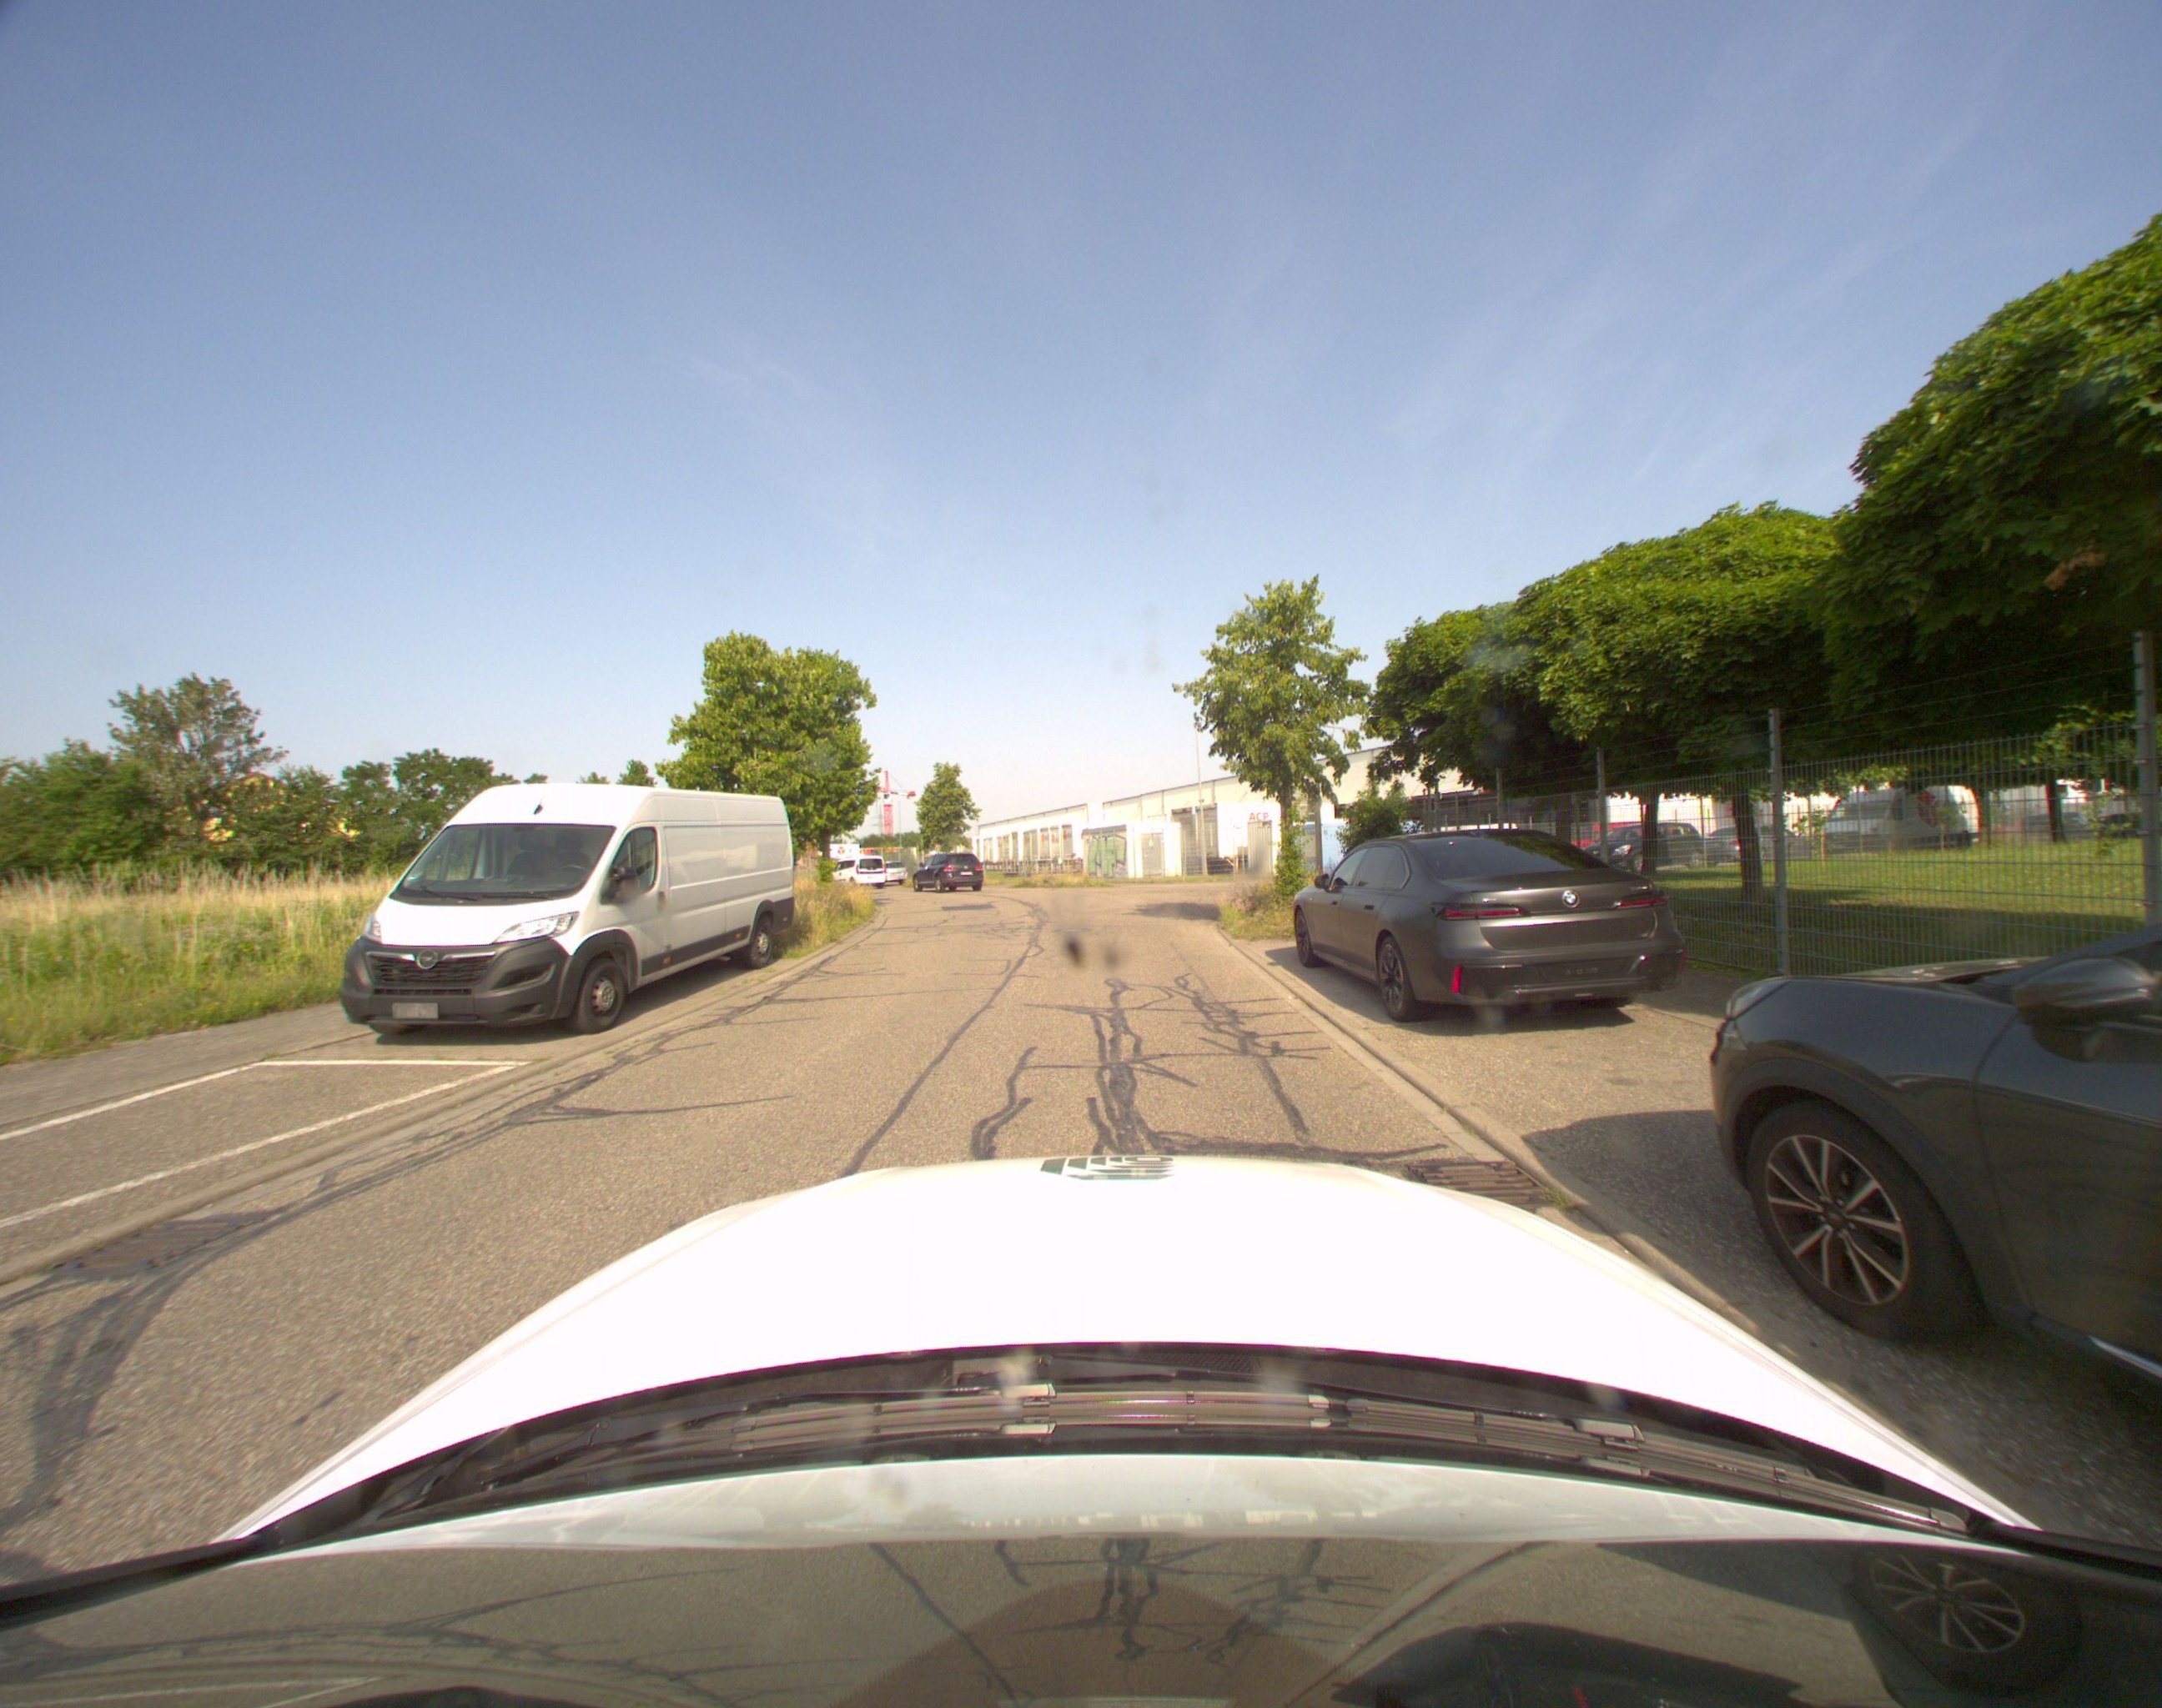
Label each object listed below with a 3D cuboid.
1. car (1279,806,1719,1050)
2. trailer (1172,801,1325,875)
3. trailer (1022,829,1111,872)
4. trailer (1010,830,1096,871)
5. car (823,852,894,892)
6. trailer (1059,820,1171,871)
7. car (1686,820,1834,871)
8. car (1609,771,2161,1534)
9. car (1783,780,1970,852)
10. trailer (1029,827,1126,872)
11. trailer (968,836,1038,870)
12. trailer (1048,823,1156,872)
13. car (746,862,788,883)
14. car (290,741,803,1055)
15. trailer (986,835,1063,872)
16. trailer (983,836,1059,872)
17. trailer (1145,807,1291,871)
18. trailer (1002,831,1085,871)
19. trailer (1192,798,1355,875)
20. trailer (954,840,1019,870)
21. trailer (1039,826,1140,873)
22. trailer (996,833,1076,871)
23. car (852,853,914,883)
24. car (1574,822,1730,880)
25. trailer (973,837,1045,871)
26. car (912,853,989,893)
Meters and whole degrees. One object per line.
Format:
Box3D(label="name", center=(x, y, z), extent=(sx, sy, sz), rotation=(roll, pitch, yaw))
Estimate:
Box3D(label="car", center=(3.511, 0.526, 8.204), extent=(1.873, 1.574, 5.121), rotation=(-4, 0, 2))
Box3D(label="trailer", center=(9.886, -0.963, 47.998), extent=(8.567, 3.893, 2.756), rotation=(-3, 0, -21))
Box3D(label="trailer", center=(-1.347, -0.307, 77.012), extent=(8.065, 3.893, 2.755), rotation=(0, 0, -22))
Box3D(label="trailer", center=(-2.764, -0.330, 79.630), extent=(7.995, 3.893, 2.755), rotation=(0, 0, -22))
Box3D(label="car", center=(-12.648, 1.024, 46.138), extent=(2.139, 2.110, 4.570), rotation=(-2, -1, -39))
Box3D(label="trailer", center=(2.702, -0.638, 64.508), extent=(8.570, 3.893, 2.755), rotation=(0, 0, -22))
Box3D(label="car", center=(23.244, -0.300, 27.905), extent=(4.490, 1.518, 1.717), rotation=(-2, -2, -18))
Box3D(label="car", center=(3.112, 0.560, 1.313), extent=(1.874, 1.574, 4.115), rotation=(-4, 0, 2))
Box3D(label="car", center=(30.187, -1.455, 30.897), extent=(6.845, 2.483, 2.194), rotation=(-2, 1, -18))
Box3D(label="trailer", center=(-0.306, -0.397, 73.192), extent=(8.341, 3.893, 2.755), rotation=(0, 0, -22))
Box3D(label="trailer", center=(-9.309, -0.111, 97.436), extent=(7.995, 3.893, 2.755), rotation=(0, 0, -22))
Box3D(label="trailer", center=(1.761, -0.529, 67.483), extent=(8.570, 3.893, 2.755), rotation=(0, 0, -22))
Box3D(label="car", center=(-25.395, 1.518, 65.835), extent=(1.730, 1.515, 3.955), rotation=(-4, 1, -43))
Box3D(label="car", center=(-5.539, 0.357, 10.019), extent=(2.096, 2.595, 6.500), rotation=(0, 0, -1))
Box3D(label="trailer", center=(-6.112, -0.043, 88.197), extent=(7.995, 3.893, 2.755), rotation=(0, 0, -22))
Box3D(label="trailer", center=(-6.707, 0.023, 91.256), extent=(7.995, 3.893, 2.755), rotation=(0, 0, -22))
Box3D(label="trailer", center=(8.581, -0.954, 50.894), extent=(8.767, 3.761, 2.770), rotation=(-1, -1, -22))
Box3D(label="trailer", center=(-3.778, -0.265, 82.453), extent=(7.995, 3.893, 2.755), rotation=(0, 0, -22))
Box3D(label="trailer", center=(10.696, -1.004, 45.302), extent=(8.565, 3.894, 2.757), rotation=(-2, -3, -20))
Box3D(label="trailer", center=(-12.299, 0.125, 105.855), extent=(7.995, 3.893, 2.722), rotation=(0, 0, -22))
Box3D(label="trailer", center=(0.785, -0.341, 70.352), extent=(8.341, 3.893, 2.755), rotation=(0, 0, -22))
Box3D(label="trailer", center=(-4.721, -0.220, 85.296), extent=(7.995, 3.893, 2.755), rotation=(0, 0, -22))
Box3D(label="car", center=(-12.280, 0.881, 50.421), extent=(1.815, 1.625, 4.396), rotation=(-4, 1, -41))
Box3D(label="car", center=(18.074, -0.092, 25.814), extent=(4.269, 1.626, 1.865), rotation=(-2, -3, -20))
Box3D(label="trailer", center=(-8.373, 0.004, 94.611), extent=(7.995, 3.893, 2.755), rotation=(0, 0, -22))
Box3D(label="car", center=(-5.749, 0.825, 35.451), extent=(1.893, 1.586, 4.072), rotation=(-2, -1, -31))
